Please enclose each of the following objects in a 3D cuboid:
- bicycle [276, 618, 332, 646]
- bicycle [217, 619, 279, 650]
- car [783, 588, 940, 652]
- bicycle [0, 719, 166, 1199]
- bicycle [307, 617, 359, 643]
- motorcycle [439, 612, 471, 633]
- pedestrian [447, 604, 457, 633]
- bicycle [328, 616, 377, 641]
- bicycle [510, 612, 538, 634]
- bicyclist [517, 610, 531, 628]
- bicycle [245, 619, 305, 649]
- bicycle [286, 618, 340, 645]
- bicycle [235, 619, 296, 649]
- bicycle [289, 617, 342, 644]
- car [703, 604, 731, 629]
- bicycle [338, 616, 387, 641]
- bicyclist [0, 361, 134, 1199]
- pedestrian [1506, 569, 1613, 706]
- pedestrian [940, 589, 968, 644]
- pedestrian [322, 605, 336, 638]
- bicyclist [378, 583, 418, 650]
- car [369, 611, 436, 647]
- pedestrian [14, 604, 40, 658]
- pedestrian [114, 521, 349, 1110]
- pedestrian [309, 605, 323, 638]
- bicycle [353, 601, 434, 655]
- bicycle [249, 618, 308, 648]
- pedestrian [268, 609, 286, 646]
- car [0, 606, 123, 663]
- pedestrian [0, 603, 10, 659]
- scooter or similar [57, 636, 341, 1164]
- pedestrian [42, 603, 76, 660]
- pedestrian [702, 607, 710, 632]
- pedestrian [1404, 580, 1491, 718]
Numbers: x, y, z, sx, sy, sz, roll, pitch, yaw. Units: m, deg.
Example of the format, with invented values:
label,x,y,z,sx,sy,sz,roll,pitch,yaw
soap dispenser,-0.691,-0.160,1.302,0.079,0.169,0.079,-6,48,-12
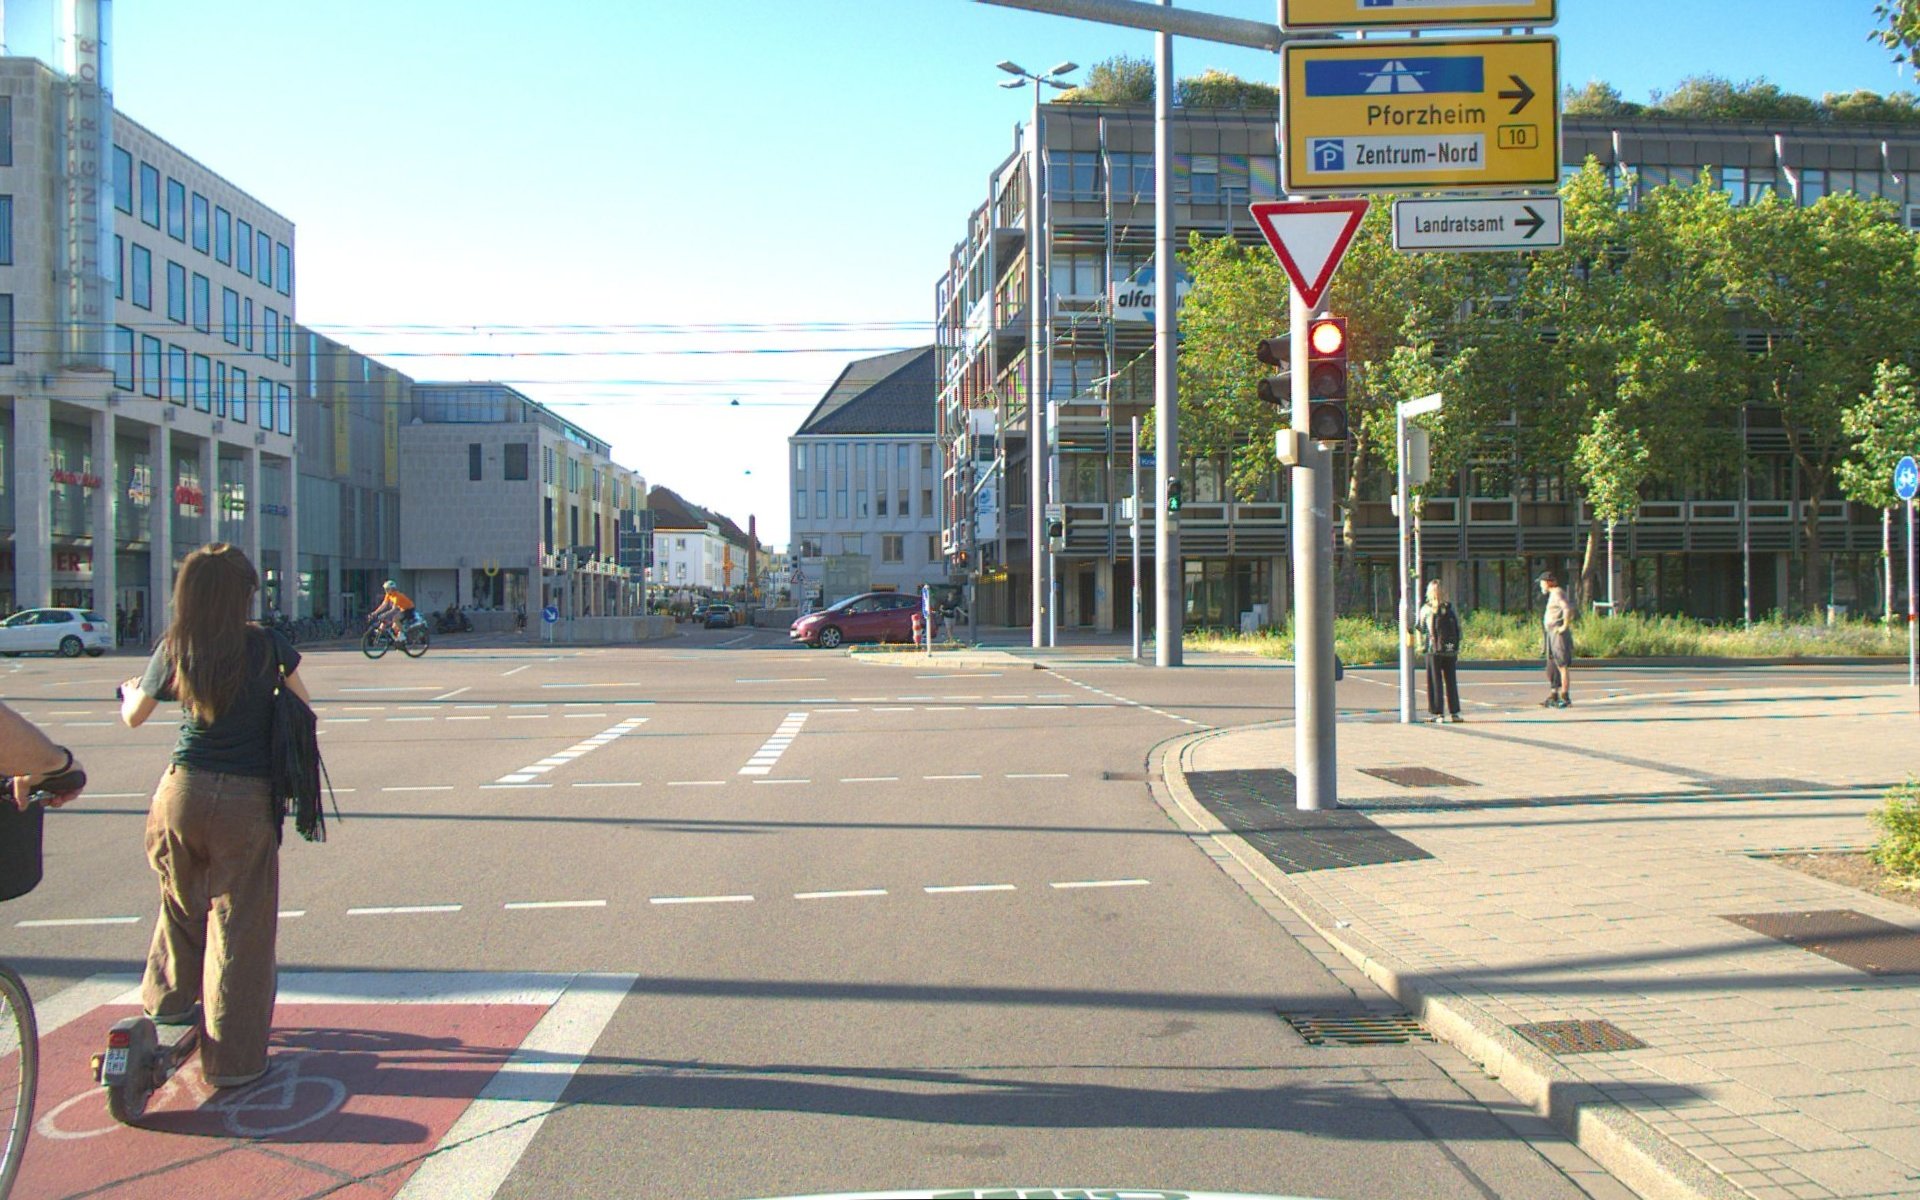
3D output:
label,x,y,z,sx,sy,sz,roll,pitch,yaw
bicycle,-29.604,1.447,74.697,2.260,1.244,0.611,0,0,-3
bicycle,-29.334,1.424,68.116,2.260,1.244,0.611,0,0,-3
car,-2.586,0.512,43.494,3.828,1.613,1.649,0,0,-21
bicycle,-2.083,0.864,2.926,0.475,1.176,1.831,1,0,-1
bicycle,-30.335,1.458,80.050,2.260,1.244,0.611,0,0,-3
motorcycle,-29.761,1.327,97.475,1.775,1.228,0.509,1,0,-16
pedestrian,-30.098,1.072,98.078,0.512,1.709,0.581,1,0,-14
bicycle,-30.928,1.466,84.267,2.260,1.244,0.611,0,0,-3
bicycle,-26.091,1.372,99.028,0.500,1.228,1.808,1,0,28
bicyclist,-26.085,1.141,99.039,0.500,1.103,0.624,1,0,29
bicycle,-29.291,1.436,70.756,2.260,1.244,0.611,0,0,-3
bicycle,-30.065,1.449,76.848,2.260,1.244,0.611,0,0,-3
bicycle,-29.127,1.433,69.402,2.260,1.244,0.611,0,0,-3
bicycle,-30.714,1.446,78.818,2.260,1.244,0.611,0,0,-3
car,-15.825,1.056,107.945,1.705,1.558,3.849,1,0,-8
bicycle,-30.816,1.472,85.337,2.260,1.244,0.611,0,0,-3
bicyclist,-1.979,0.460,2.851,0.647,1.750,0.865,1,-1,-1
pedestrian,7.669,0.472,21.191,0.866,1.694,0.958,1,-1,-22
pedestrian,-0.202,0.579,57.962,0.631,1.923,0.787,1,-1,36
pedestrian,-32.846,1.121,86.143,0.544,1.709,0.606,1,0,-11
bicyclist,-12.523,0.365,36.879,0.706,1.462,0.490,1,-1,-39
car,-23.378,1.205,69.484,1.597,1.365,3.998,-3,0,-3
pedestrian,-32.863,1.077,58.262,0.787,1.876,0.856,0,0,-29
pedestrian,-2.189,0.612,5.027,0.540,1.661,0.569,1,-1,-16
pedestrian,-33.472,1.123,85.972,0.560,1.709,0.614,1,0,-10
bicycle,-12.610,0.616,36.822,1.634,1.175,0.490,1,-1,-39
bicycle,-29.504,1.436,71.632,2.260,1.244,0.611,0,0,-3
pedestrian,-32.840,1.311,79.540,0.440,1.749,0.650,-1,0,22
car,-27.360,1.025,49.383,3.825,1.613,1.656,1,0,-8
pedestrian,-33.027,1.061,56.687,0.706,1.918,0.780,1,-1,-28
scooter or similar,-2.179,0.781,4.859,0.538,1.316,1.189,1,0,-15
pedestrian,-32.465,1.129,59.612,0.868,2.049,0.771,1,-1,-12
pedestrian,-17.906,1.360,116.785,0.511,1.709,0.582,1,0,-8
pedestrian,5.514,0.546,18.748,0.772,1.518,0.644,1,-1,-1
